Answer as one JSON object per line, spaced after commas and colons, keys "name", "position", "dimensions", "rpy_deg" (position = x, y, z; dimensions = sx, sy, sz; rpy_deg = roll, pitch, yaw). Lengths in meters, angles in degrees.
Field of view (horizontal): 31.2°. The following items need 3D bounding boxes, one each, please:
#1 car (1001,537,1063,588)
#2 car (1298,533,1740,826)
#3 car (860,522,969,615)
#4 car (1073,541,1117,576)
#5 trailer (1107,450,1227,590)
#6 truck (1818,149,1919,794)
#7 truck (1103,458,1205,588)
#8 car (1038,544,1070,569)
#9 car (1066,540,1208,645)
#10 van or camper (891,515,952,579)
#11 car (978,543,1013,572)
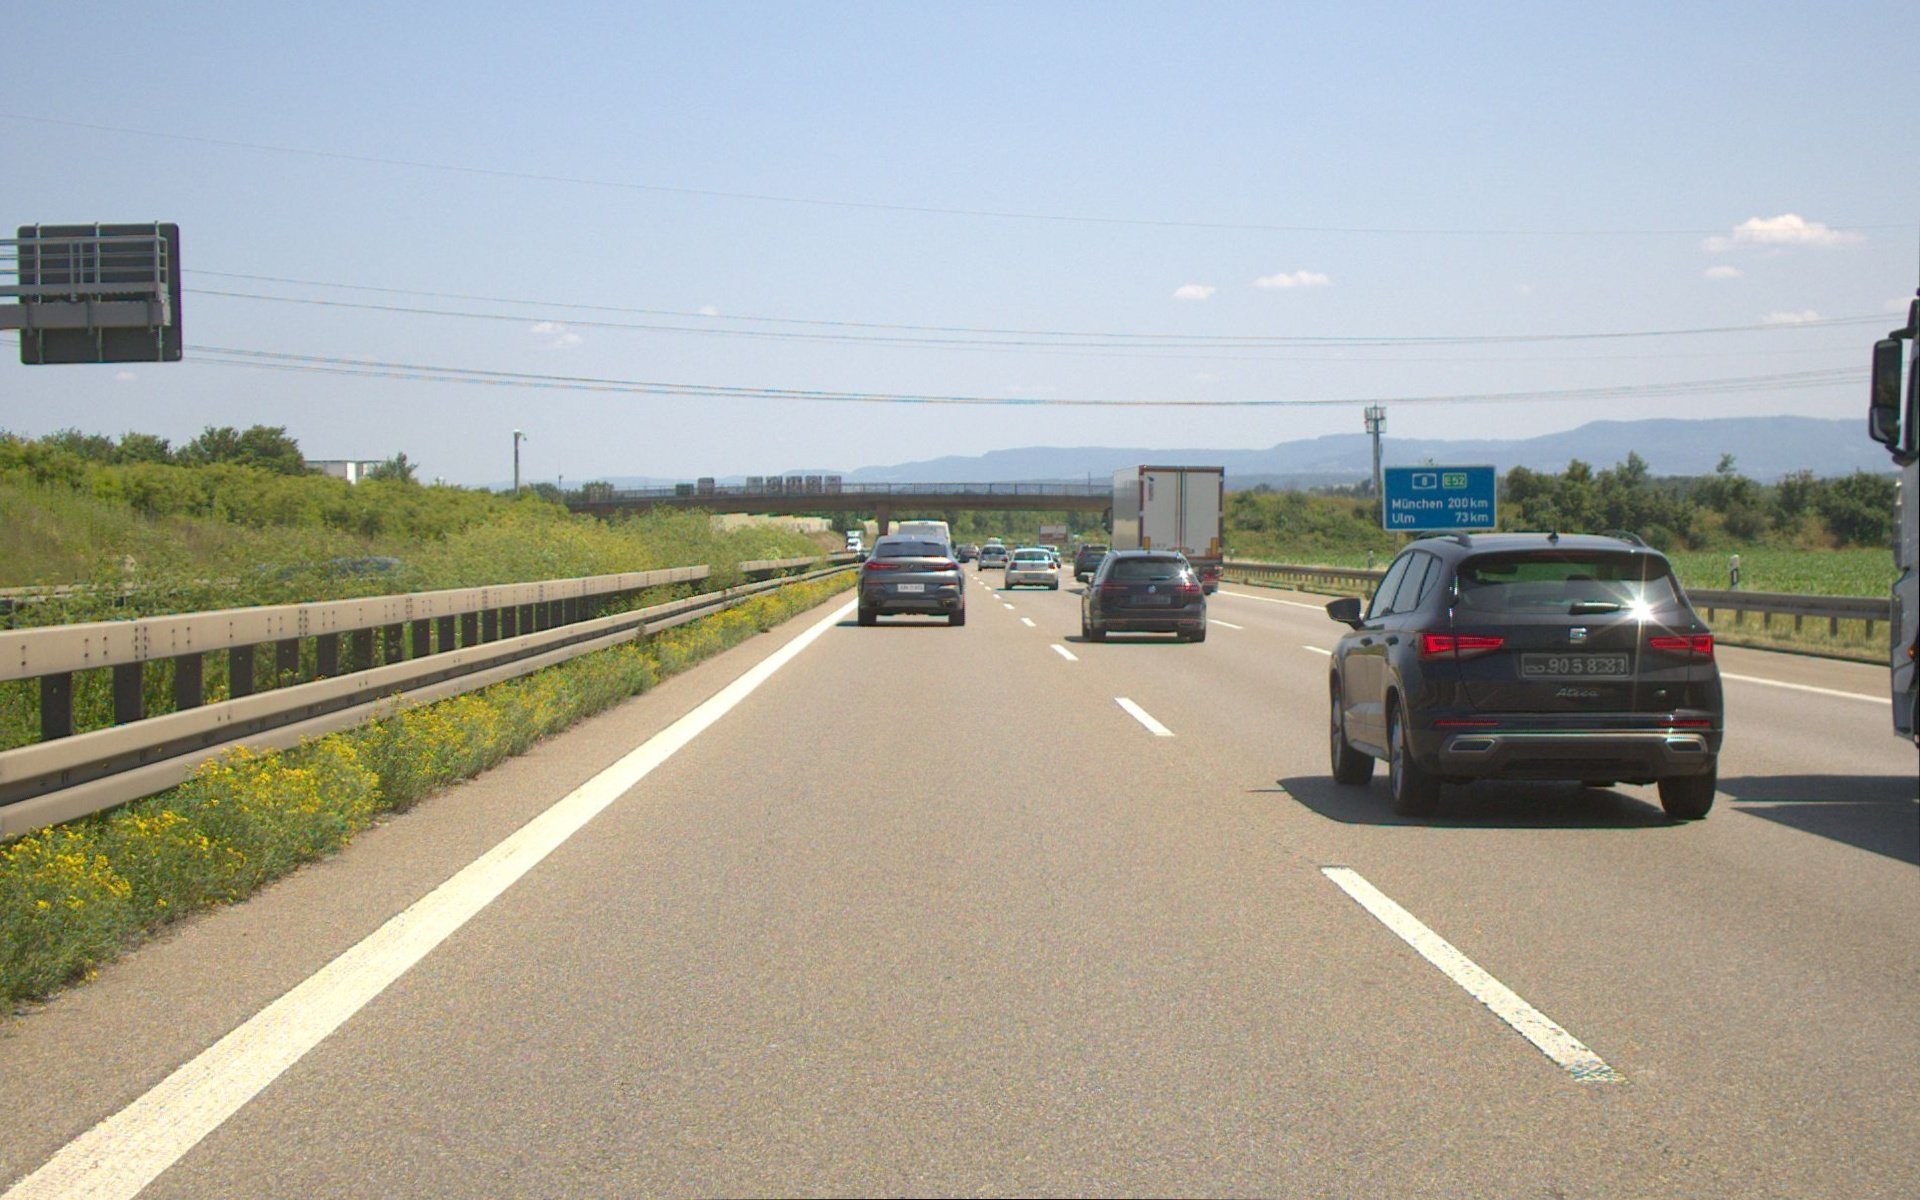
{"name": "car", "position": [2.435, -1.300, 117.625], "dimensions": [1.993, 1.677, 4.000], "rpy_deg": [1, 1, 0]}
{"name": "car", "position": [3.224, 0.407, 20.565], "dimensions": [1.796, 1.556, 3.824], "rpy_deg": [1, 1, -3]}
{"name": "car", "position": [-0.877, -0.595, 64.180], "dimensions": [1.851, 1.658, 3.735], "rpy_deg": [1, 1, -3]}
{"name": "car", "position": [6.661, -2.053, 169.964], "dimensions": [1.993, 1.677, 4.000], "rpy_deg": [1, 1, 0]}
{"name": "trailer", "position": [6.566, -2.493, 110.839], "dimensions": [2.943, 4.184, 13.597], "rpy_deg": [1, 1, 0]}
{"name": "truck", "position": [7.521, -0.779, 20.495], "dimensions": [2.862, 4.077, 6.880], "rpy_deg": [1, 1, -1]}
{"name": "truck", "position": [6.572, -2.588, 117.456], "dimensions": [2.979, 4.213, 7.687], "rpy_deg": [1, 1, 0]}
{"name": "car", "position": [6.415, -2.976, 235.270], "dimensions": [1.993, 1.677, 4.000], "rpy_deg": [1, 1, 0]}
{"name": "car", "position": [2.789, -0.151, 55.165], "dimensions": [1.933, 1.569, 4.935], "rpy_deg": [1, 1, -1]}
{"name": "van or camper", "position": [-1.350, -1.880, 122.931], "dimensions": [2.110, 2.204, 5.265], "rpy_deg": [1, 1, 0]}
{"name": "car", "position": [2.075, -2.512, 204.357], "dimensions": [1.993, 1.677, 4.000], "rpy_deg": [1, 1, 0]}
